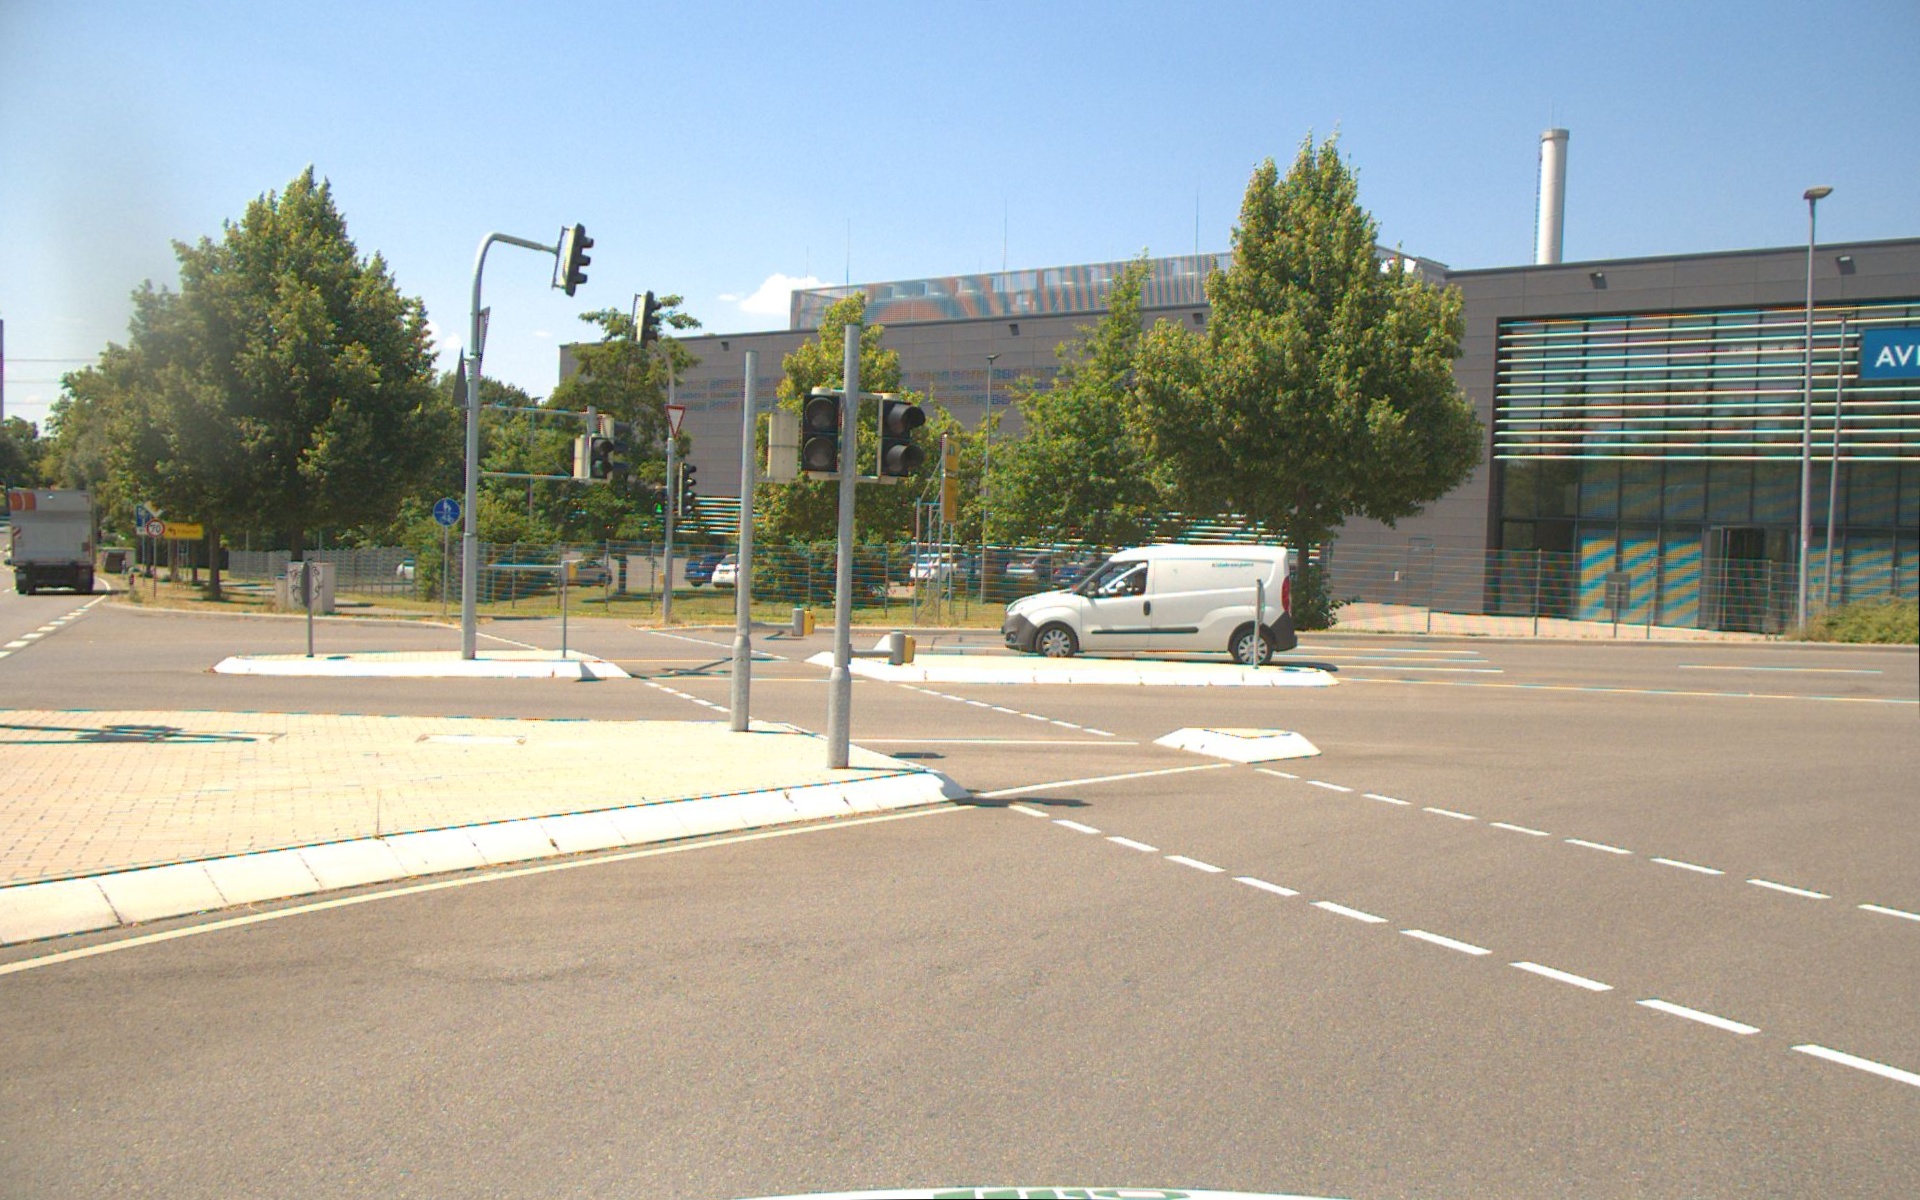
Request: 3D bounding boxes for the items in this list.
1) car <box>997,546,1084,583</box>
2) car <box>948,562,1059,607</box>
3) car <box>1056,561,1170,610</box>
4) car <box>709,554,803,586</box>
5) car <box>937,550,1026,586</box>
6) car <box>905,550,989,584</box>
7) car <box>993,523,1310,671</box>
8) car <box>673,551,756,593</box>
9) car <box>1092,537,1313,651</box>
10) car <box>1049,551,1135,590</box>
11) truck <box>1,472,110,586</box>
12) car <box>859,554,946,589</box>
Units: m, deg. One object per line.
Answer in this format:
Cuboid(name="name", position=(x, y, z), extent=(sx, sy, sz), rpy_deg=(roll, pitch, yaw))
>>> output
Cuboid(name="car", position=(3.448, -1.487, 70.570), extent=(1.881, 1.543, 3.985), rpy_deg=(0, 0, 35))
Cuboid(name="car", position=(1.549, -0.519, 57.029), extent=(1.960, 1.512, 3.985), rpy_deg=(0, 0, 35))
Cuboid(name="car", position=(4.962, -0.454, 53.335), extent=(1.960, 1.512, 3.985), rpy_deg=(0, 0, 35))
Cuboid(name="car", position=(-7.823, -1.120, 63.624), extent=(1.583, 1.185, 3.621), rpy_deg=(0, 0, 35))
Cuboid(name="car", position=(0.952, -1.375, 71.951), extent=(1.960, 1.512, 3.985), rpy_deg=(0, 0, 35))
Cuboid(name="car", position=(-0.550, -1.450, 73.755), extent=(1.736, 1.485, 3.985), rpy_deg=(0, 0, 35))
Cuboid(name="car", position=(3.018, -0.094, 26.342), extent=(4.752, 1.975, 2.003), rpy_deg=(2, 6, 7))
Cuboid(name="car", position=(-12.403, -1.376, 83.617), extent=(1.960, 2.049, 3.985), rpy_deg=(0, 0, 35))
Cuboid(name="car", position=(4.346, -0.150, 29.986), extent=(3.770, 1.735, 2.003), rpy_deg=(2, 6, 7))
Cuboid(name="car", position=(5.520, -1.215, 68.772), extent=(1.783, 1.555, 3.985), rpy_deg=(0, 0, 35))
Cuboid(name="truck", position=(-33.063, -2.481, 60.659), extent=(3.227, 3.907, 6.150), rpy_deg=(0, 0, -26))
Cuboid(name="car", position=(-2.595, -1.265, 75.063), extent=(1.960, 1.512, 3.985), rpy_deg=(0, 0, 35))
